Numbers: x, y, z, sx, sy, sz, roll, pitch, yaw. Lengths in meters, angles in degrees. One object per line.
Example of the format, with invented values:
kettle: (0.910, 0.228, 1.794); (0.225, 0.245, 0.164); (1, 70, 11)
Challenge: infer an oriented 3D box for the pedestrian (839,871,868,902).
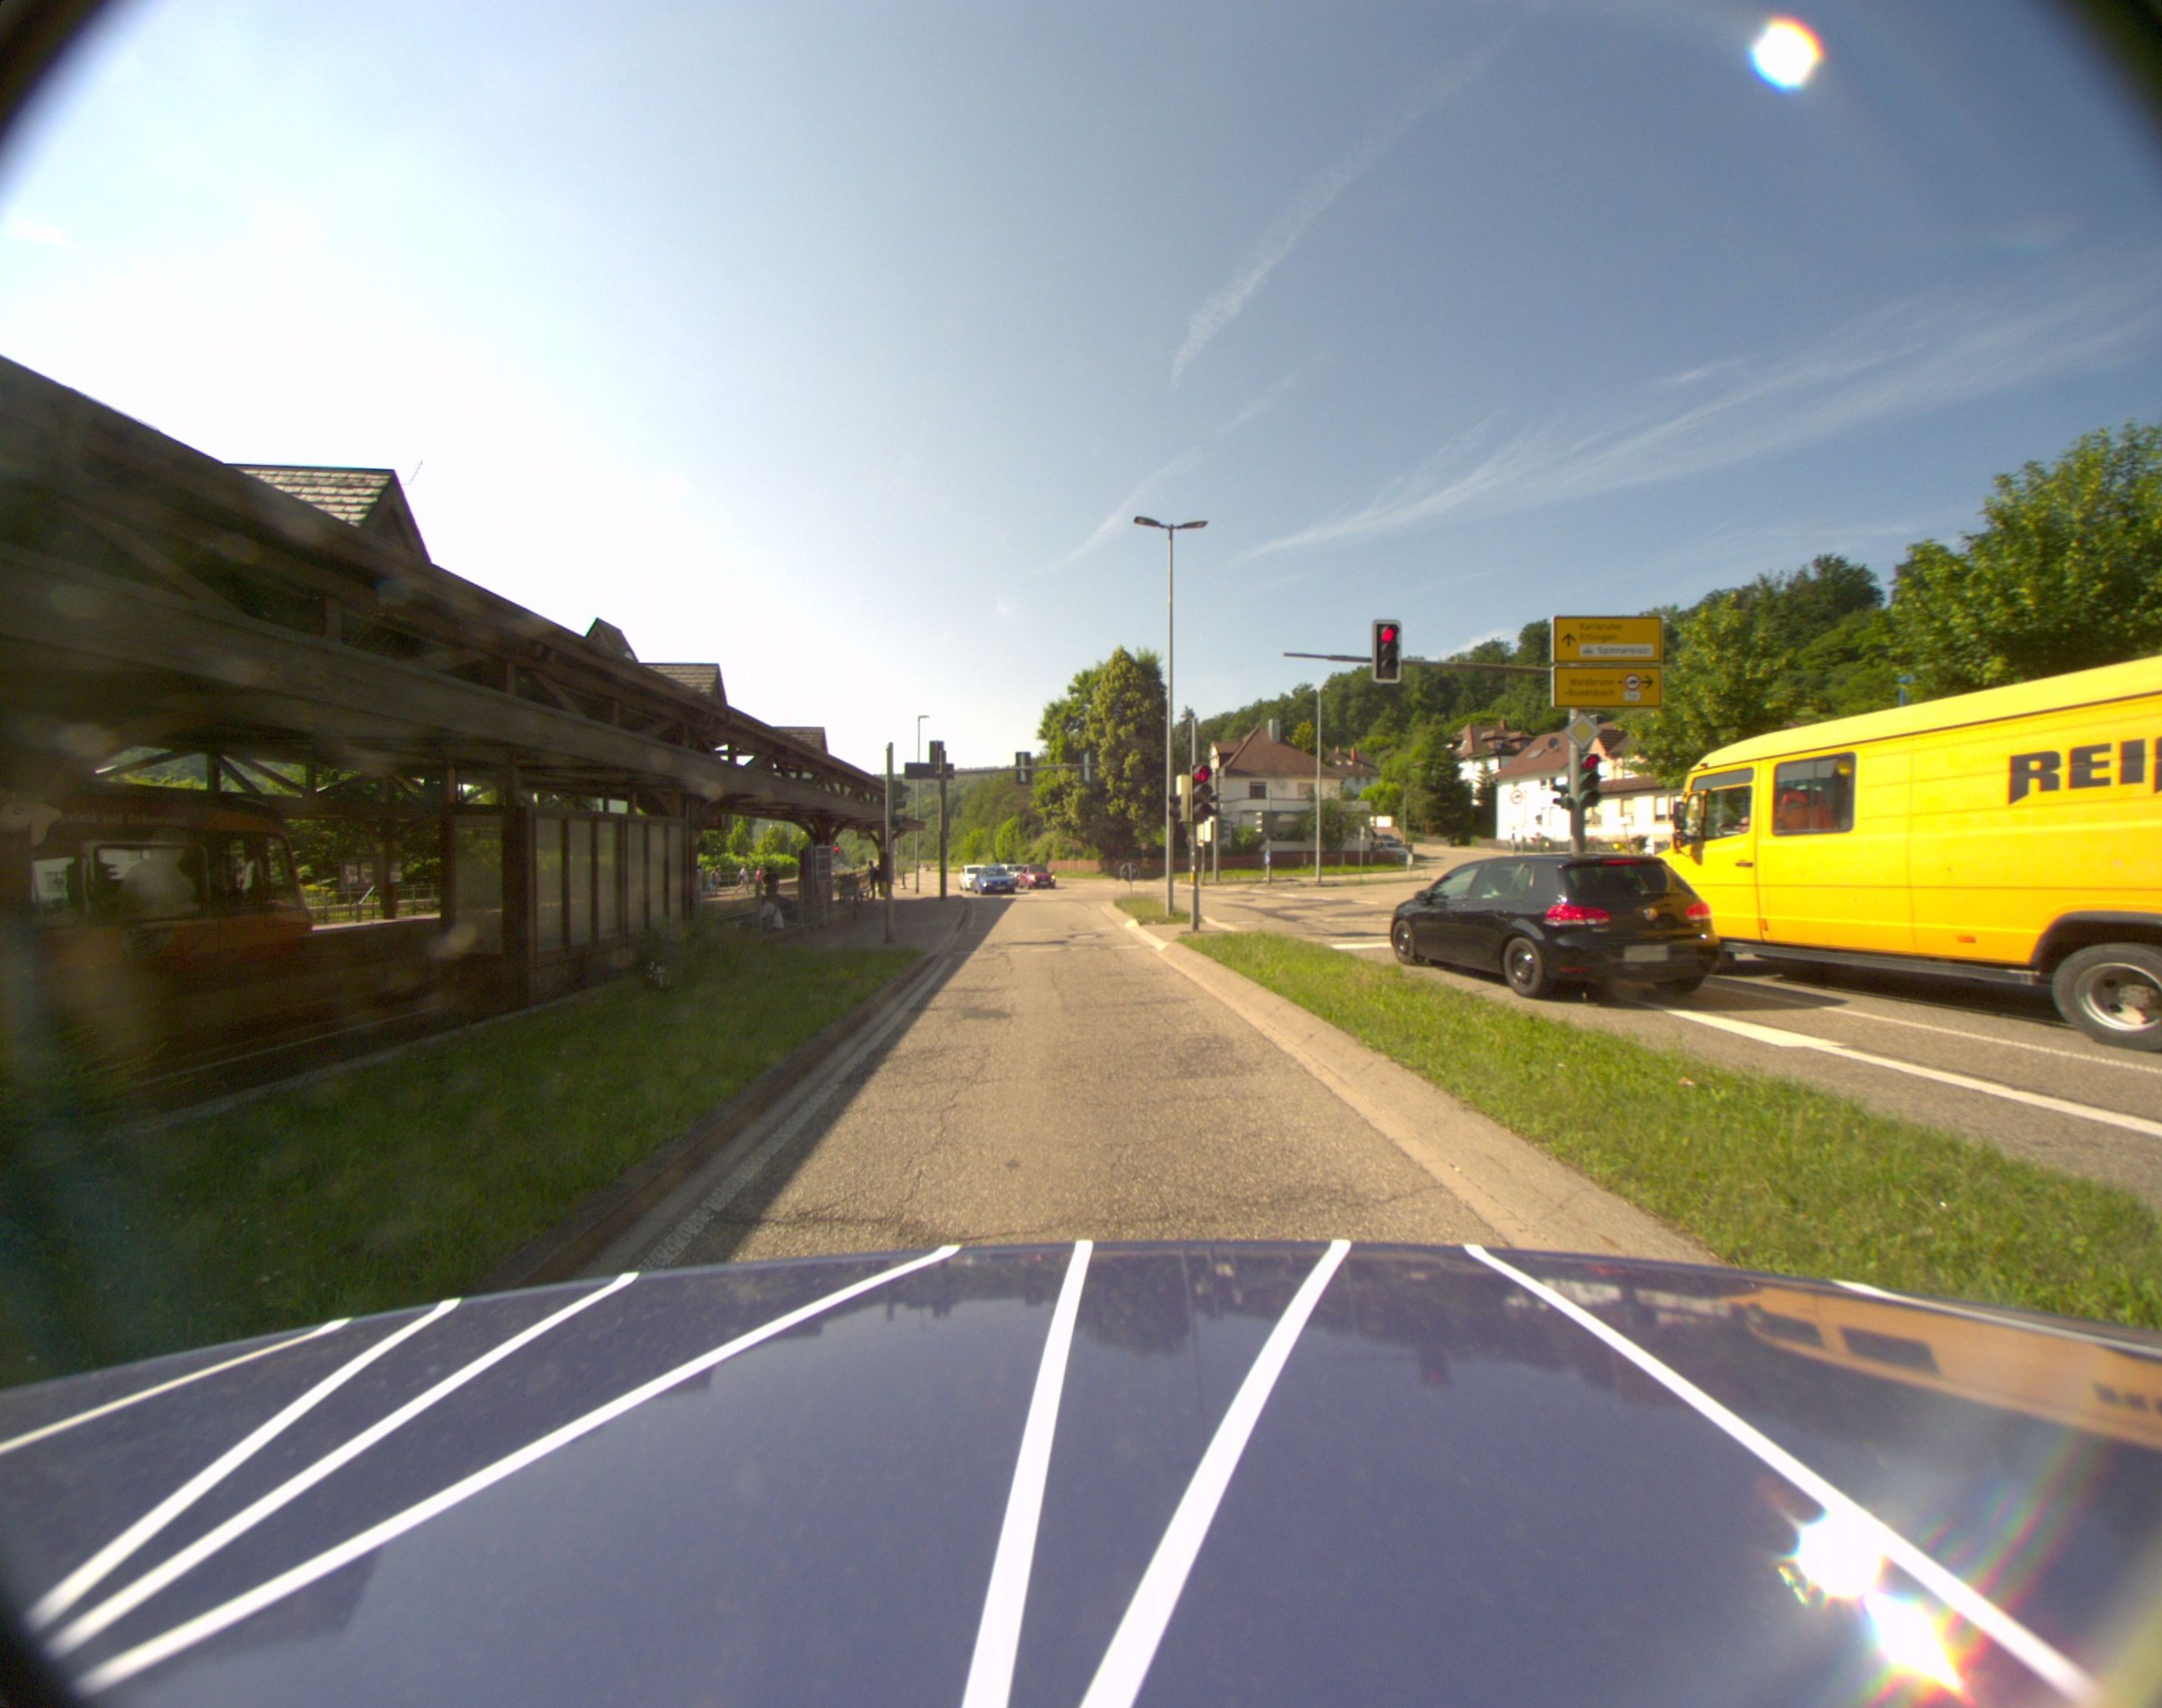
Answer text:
pedestrian: (-9.025, 1.269, 30.201); (1.010, 1.153, 0.948); (-2, 1, -13)

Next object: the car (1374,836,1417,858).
car: (25.931, -0.577, 62.834); (1.939, 1.627, 4.001); (-3, -1, 2)

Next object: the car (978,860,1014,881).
car: (-6.569, 1.282, 58.443); (1.982, 1.495, 3.982); (-2, -1, -17)

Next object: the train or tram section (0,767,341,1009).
train or tram section: (-16.249, 0.509, 8.269); (2.864, 3.345, 14.349); (-2, 0, -3)

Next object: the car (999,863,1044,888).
car: (-4.027, 1.413, 50.639); (1.982, 1.495, 4.745); (-2, -1, -17)

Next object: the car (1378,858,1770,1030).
car: (5.155, 0.803, 8.727); (1.750, 1.454, 4.042); (-1, 0, -3)

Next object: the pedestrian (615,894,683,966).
pedestrian: (-7.243, 1.265, 12.776); (0.744, 1.110, 0.667); (-3, -1, -7)

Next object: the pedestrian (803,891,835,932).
pedestrian: (-6.415, 1.400, 18.645); (0.619, 0.960, 0.406); (-3, -1, -7)

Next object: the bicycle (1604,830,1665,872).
bicycle: (18.342, -0.082, 25.222); (0.620, 1.247, 1.758); (-6, -2, 2)

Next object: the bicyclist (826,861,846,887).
bicyclist: (-15.677, 1.265, 48.645); (0.946, 1.559, 0.787); (-3, 1, 6)

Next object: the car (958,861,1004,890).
car: (-6.073, 1.279, 45.659); (2.001, 1.575, 3.994); (-3, 0, -17)

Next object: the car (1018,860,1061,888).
car: (-2.502, 1.138, 44.660); (1.663, 1.525, 3.950); (-2, -1, -16)

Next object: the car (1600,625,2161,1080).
car: (8.245, -0.058, 6.784); (2.474, 2.993, 6.464); (-3, 0, -3)

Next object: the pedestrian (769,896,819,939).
pedestrian: (-6.446, 1.419, 17.123); (0.847, 0.869, 0.807); (-3, -1, -7)

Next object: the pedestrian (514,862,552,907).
pedestrian: (-21.010, 1.170, 29.131); (0.736, 1.674, 0.904); (-3, -1, 0)

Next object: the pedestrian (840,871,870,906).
pedestrian: (-8.628, 1.316, 29.026); (0.994, 1.228, 0.596); (-4, 0, -13)

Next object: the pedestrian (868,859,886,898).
pedestrian: (-8.826, 1.058, 32.892); (0.659, 1.682, 0.738); (-1, 0, -13)

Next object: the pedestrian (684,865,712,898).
pedestrian: (-21.830, 1.572, 43.293); (0.990, 1.832, 1.073); (-2, -1, 0)

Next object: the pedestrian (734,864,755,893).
pedestrian: (-20.457, 1.499, 46.153); (0.868, 1.674, 0.822); (-3, -1, -7)

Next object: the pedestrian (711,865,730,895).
pedestrian: (-20.921, 1.512, 44.115); (0.905, 1.674, 0.821); (-3, -1, -23)

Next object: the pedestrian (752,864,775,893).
pedestrian: (-19.132, 1.456, 45.761); (0.902, 1.674, 0.824); (-3, -1, 24)

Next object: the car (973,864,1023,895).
car: (-4.314, 1.255, 38.823); (1.867, 1.474, 4.296); (-1, 0, -15)

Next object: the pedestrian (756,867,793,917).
pedestrian: (-9.809, 1.205, 24.345); (0.863, 1.538, 0.922); (-1, -1, -5)

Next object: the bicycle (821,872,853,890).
bicycle: (-15.589, 1.733, 48.597); (1.812, 1.049, 0.604); (-3, 1, 5)

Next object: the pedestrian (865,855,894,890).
pedestrian: (-10.429, 0.951, 39.339); (0.918, 1.726, 1.248); (-3, -1, -38)

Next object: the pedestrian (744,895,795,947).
pedestrian: (-6.392, 1.362, 15.647); (0.744, 0.976, 0.769); (-3, -1, -7)
